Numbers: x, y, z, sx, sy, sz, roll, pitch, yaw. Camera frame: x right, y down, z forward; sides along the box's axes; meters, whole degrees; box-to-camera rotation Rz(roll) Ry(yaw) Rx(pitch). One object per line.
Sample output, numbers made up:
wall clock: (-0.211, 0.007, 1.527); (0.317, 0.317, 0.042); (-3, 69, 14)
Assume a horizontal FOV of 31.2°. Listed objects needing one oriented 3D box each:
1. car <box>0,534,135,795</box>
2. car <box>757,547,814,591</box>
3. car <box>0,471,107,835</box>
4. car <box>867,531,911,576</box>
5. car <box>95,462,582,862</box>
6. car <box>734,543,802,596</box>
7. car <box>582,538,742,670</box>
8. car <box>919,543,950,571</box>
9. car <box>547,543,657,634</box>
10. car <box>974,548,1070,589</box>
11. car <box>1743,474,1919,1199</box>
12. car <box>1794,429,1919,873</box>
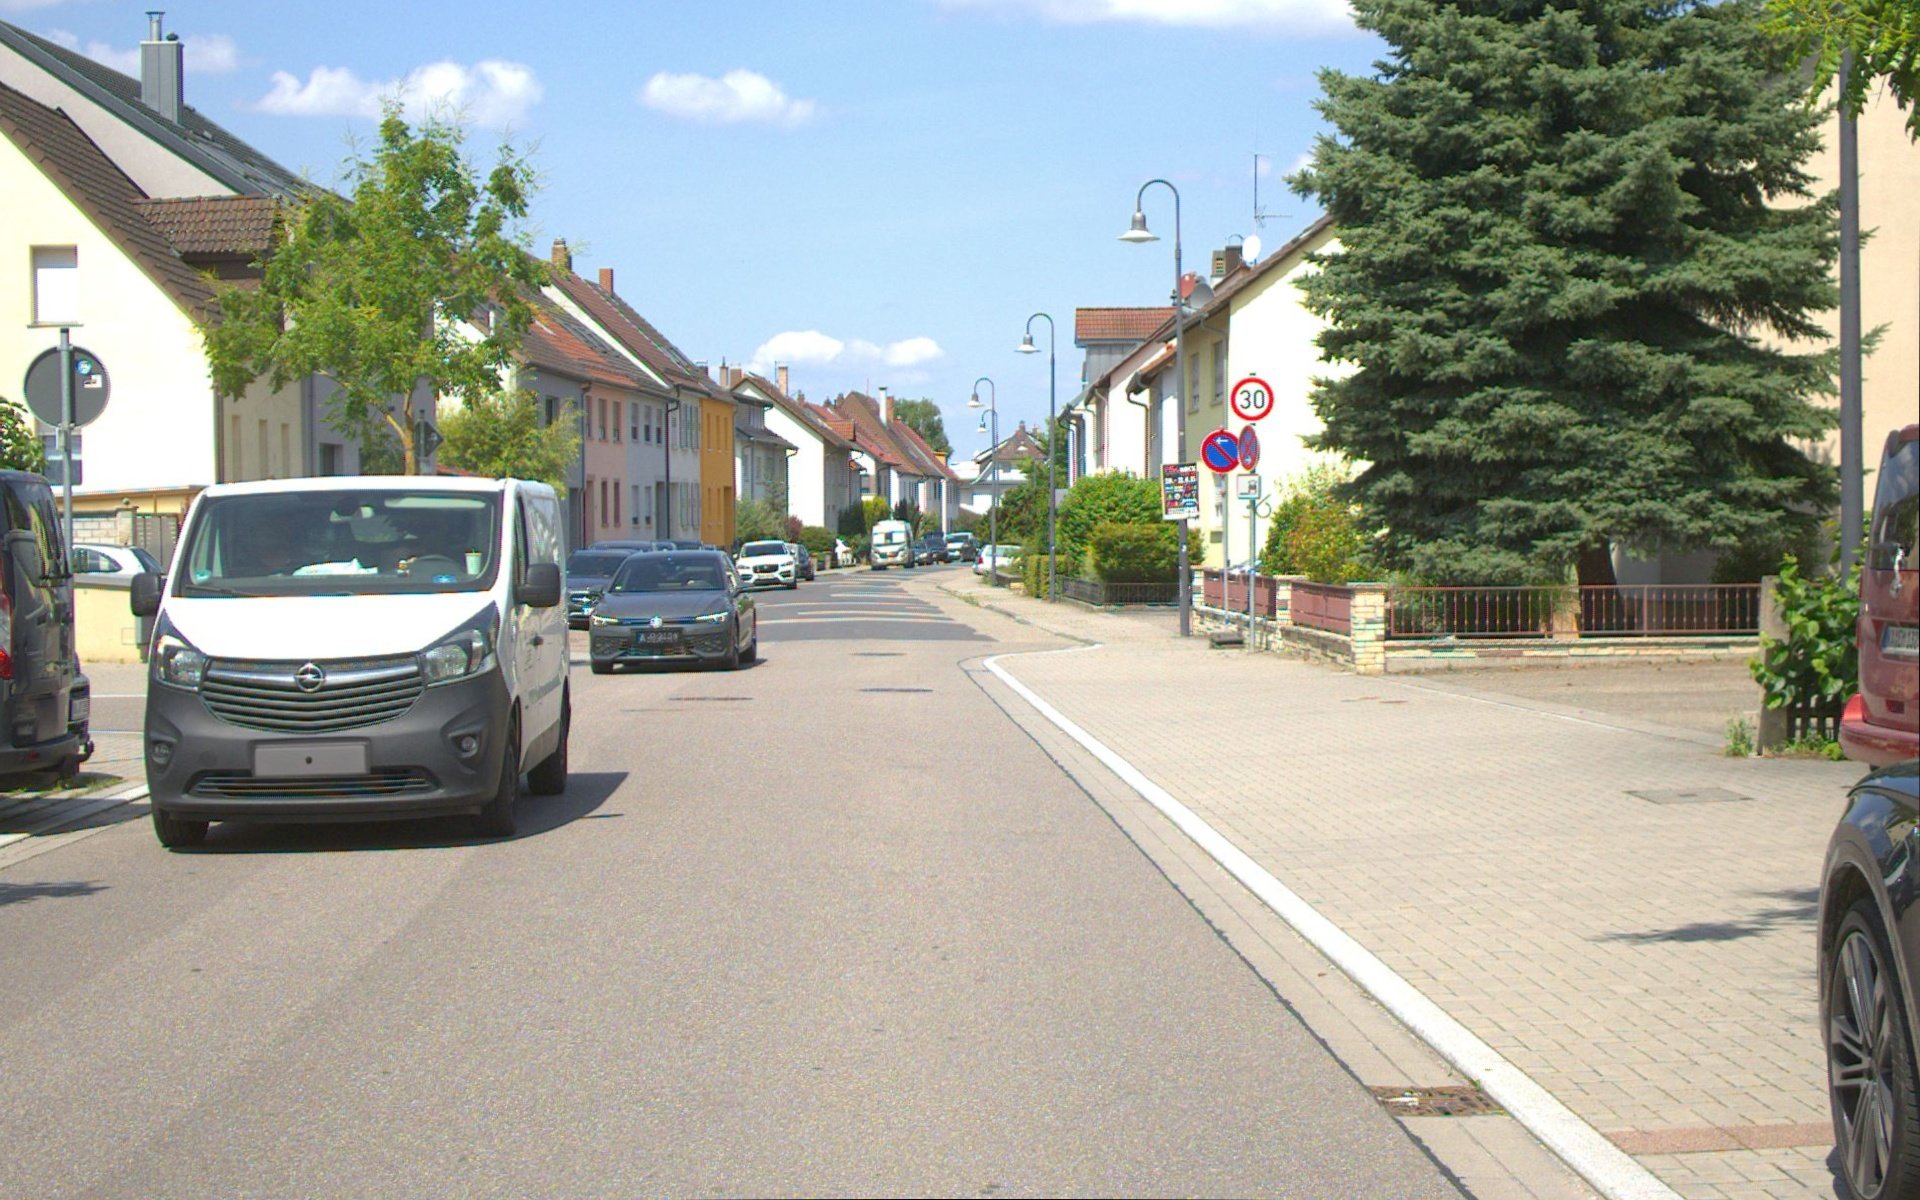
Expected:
car: (-7.640, 0.354, 22.223); (4.175, 1.614, 1.772); (1, 0, -1)
car: (-6.784, -1.217, 134.033); (1.850, 1.653, 4.000); (2, 1, 1)
car: (-7.320, 0.221, 19.012); (4.699, 1.916, 1.938); (1, 0, -1)
car: (-3.773, -2.481, 183.086); (2.045, 2.304, 3.771); (1, 0, 2)
car: (-3.310, 0.289, 19.283); (2.022, 1.943, 4.899); (0, 0, -2)
car: (-6.296, -0.997, 113.021); (1.850, 1.653, 4.000); (2, 1, 1)
car: (-3.671, 0.016, 42.916); (1.762, 1.517, 4.049); (-2, 1, -2)
car: (-1.575, -2.663, 212.488); (1.691, 1.654, 3.771); (1, 0, 2)
car: (-6.640, -0.239, 64.093); (1.816, 1.428, 4.140); (4, 2, -4)
car: (2.308, -1.171, 129.003); (3.523, 1.459, 1.628); (1, 0, -1)
car: (2.753, 0.559, 5.758); (1.864, 1.630, 4.446); (-2, 1, 1)
car: (6.347, 0.258, 15.498); (4.618, 1.887, 2.021); (1, 0, -2)
